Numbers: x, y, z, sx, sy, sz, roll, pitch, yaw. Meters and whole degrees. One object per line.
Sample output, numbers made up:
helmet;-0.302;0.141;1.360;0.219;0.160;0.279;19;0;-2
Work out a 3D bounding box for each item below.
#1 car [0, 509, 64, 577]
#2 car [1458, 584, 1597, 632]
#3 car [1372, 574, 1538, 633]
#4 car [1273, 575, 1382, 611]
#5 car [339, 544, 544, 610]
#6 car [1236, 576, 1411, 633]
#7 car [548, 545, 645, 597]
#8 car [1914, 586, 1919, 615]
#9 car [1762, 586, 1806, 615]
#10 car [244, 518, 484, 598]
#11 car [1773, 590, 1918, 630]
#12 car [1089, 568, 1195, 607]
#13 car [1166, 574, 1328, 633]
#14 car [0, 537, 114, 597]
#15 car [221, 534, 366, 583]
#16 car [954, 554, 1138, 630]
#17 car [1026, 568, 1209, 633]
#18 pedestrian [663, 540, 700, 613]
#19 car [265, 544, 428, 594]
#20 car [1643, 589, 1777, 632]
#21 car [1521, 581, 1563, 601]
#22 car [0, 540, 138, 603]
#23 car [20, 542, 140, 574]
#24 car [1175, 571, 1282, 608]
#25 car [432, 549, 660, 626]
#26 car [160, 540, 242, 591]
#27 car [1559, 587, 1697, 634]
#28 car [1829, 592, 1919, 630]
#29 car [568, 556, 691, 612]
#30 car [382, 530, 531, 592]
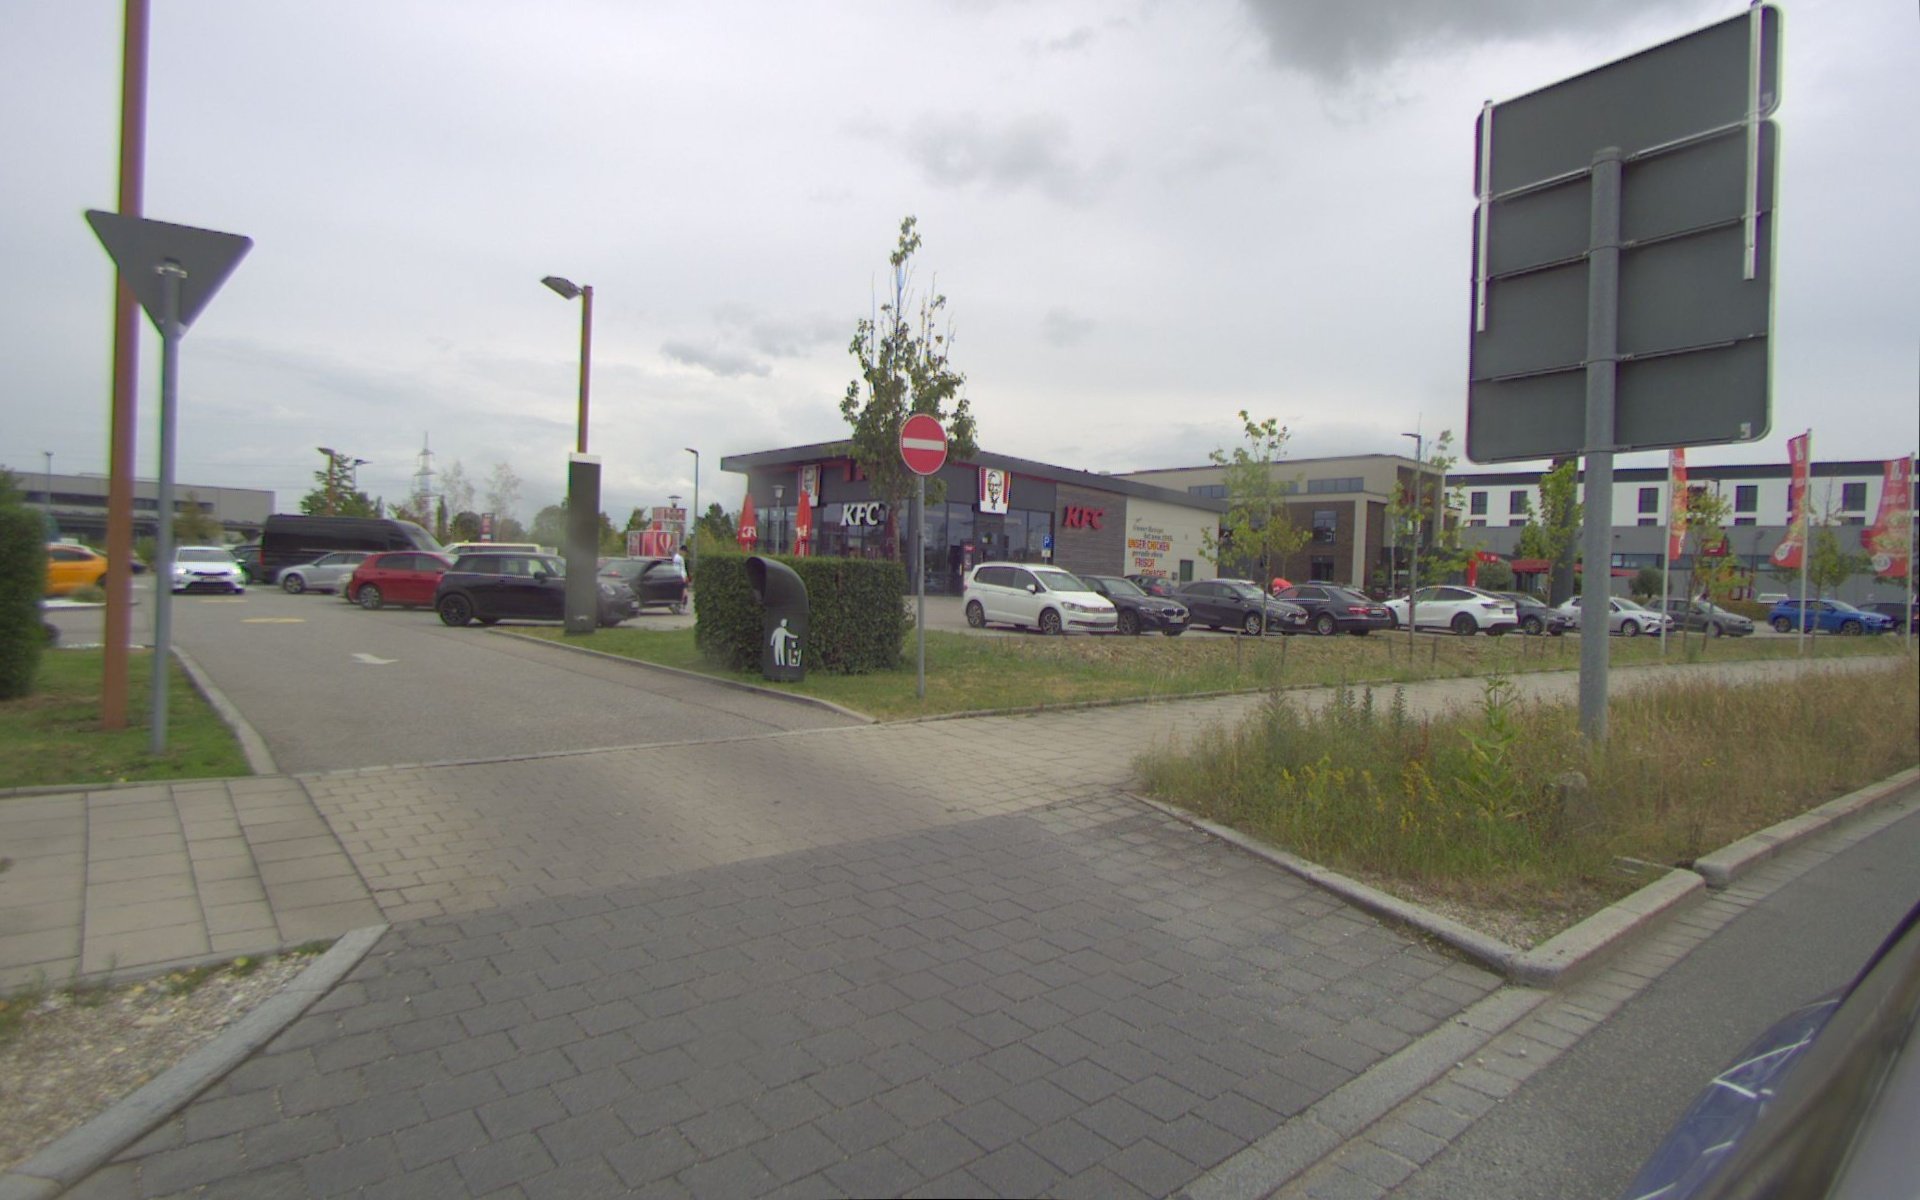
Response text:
car;-37.462;-2.178;37.757;2.243;2.560;6.035;2;1;7
car;20.494;0.247;36.694;1.900;1.503;4.008;0;2;-26
car;16.420;0.055;33.817;2.046;1.665;4.584;1;3;-30
car;17.829;-0.364;49.256;1.943;1.537;4.571;0;3;-41
car;-12.803;-0.567;25.152;4.080;1.447;2.004;2;1;4
car;10.659;0.084;29.983;1.993;1.487;4.534;1;1;-34
car;-13.348;-1.126;37.469;1.969;1.723;4.379;2;3;1
car;66.238;0.057;68.472;1.990;2.012;4.572;2;1;38
car;53.041;0.017;65.115;1.992;1.718;4.721;2;1;41
car;-21.095;-1.463;36.013;7.189;2.533;2.282;2;1;1
car;38.229;0.392;43.832;1.924;1.539;4.286;1;1;-20
car;8.096;-0.570;45.398;2.012;1.537;4.373;0;3;-41
car;8.049;0.060;28.681;1.906;1.456;4.097;1;2;-36
car;-27.889;-0.997;29.858;1.961;1.677;4.736;1;1;-1
car;-27.283;-1.669;41.583;1.850;1.838;4.642;2;2;30
car;1.994;-0.245;24.557;1.903;1.660;4.357;1;2;-40
car;3.958;-0.038;26.060;2.036;1.454;4.480;1;2;-38
pedestrian;-7.137;-0.600;25.955;0.467;1.828;0.793;2;1;26
car;-19.851;-1.011;32.878;4.140;1.461;1.956;1;1;1
car;29.481;0.375;39.900;1.850;1.512;3.778;1;1;-23
car;48.408;-0.761;84.133;2.073;1.537;4.507;4;3;42
car;-23.022;-0.722;24.744;1.962;1.461;4.733;1;1;1
car;-44.929;-2.143;51.808;4.563;1.461;1.954;0;2;-40
car;12.682;-0.525;48.098;2.043;1.537;4.573;1;3;-39
car;-8.077;-0.262;20.027;3.774;1.329;1.818;2;1;-2
car;-23.594;-1.068;31.409;1.921;1.461;4.216;0;2;-38
car;25.096;0.350;38.170;1.863;1.499;3.883;1;3;-24
car;40.821;0.463;44.113;1.940;1.512;4.009;1;1;-18
car;-8.298;-0.399;25.646;1.504;1.326;3.075;1;1;15
car;-21.704;-1.646;43.756;5.575;2.380;2.540;1;1;-28
